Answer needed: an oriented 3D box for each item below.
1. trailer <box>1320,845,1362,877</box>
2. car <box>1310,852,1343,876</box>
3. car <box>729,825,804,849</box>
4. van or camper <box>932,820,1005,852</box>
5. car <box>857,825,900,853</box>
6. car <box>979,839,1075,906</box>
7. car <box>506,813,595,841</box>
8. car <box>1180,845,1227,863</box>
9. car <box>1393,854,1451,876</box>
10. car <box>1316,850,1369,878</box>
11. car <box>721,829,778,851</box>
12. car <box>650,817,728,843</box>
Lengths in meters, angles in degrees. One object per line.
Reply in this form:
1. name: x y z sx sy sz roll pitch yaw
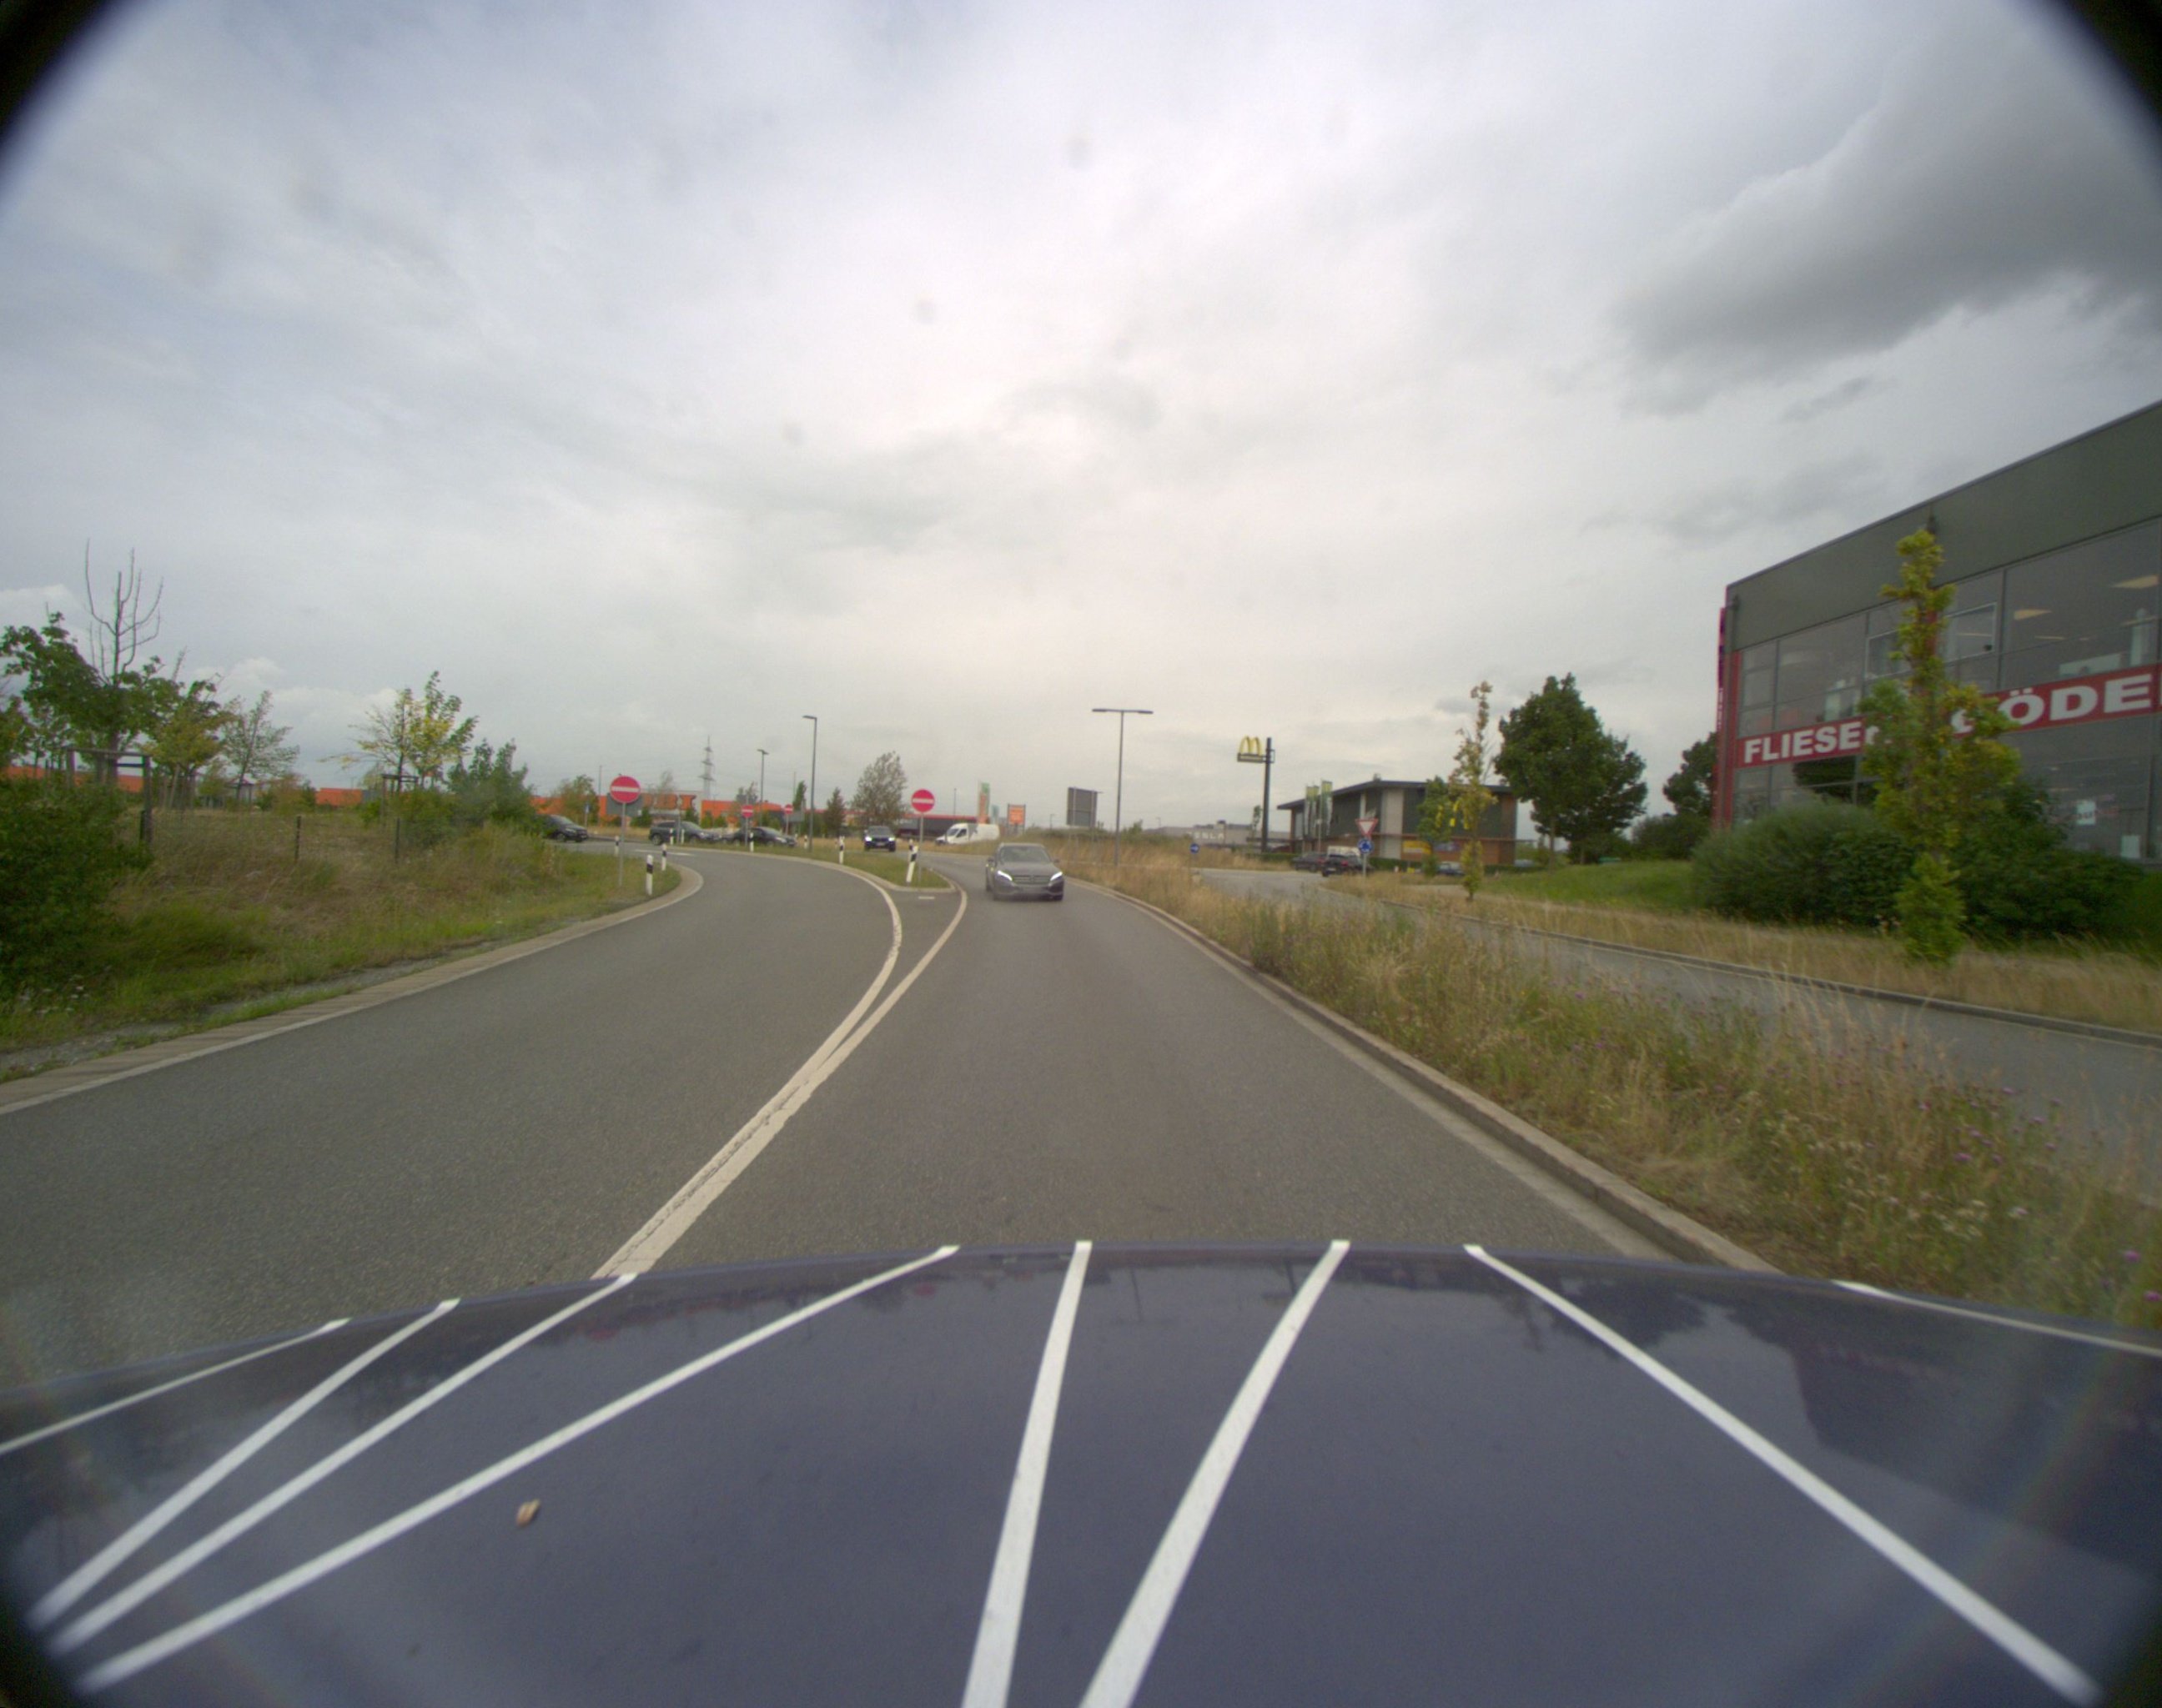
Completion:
1. trailer: 18.587 0.446 54.519 1.810 2.079 4.147 3 1 5
2. car: 18.875 0.761 58.522 1.814 1.660 4.620 3 0 11
3. car: -19.679 -1.069 47.626 4.135 1.362 1.846 2 2 19
4. van or camper: -9.683 -1.546 65.911 6.058 2.635 2.327 0 1 -44
5. car: -13.195 -0.956 49.408 1.846 1.709 3.991 -1 0 -28
6. car: -1.614 0.434 20.998 1.908 1.489 4.331 1 3 -14
7. car: -35.467 -1.807 50.896 4.742 1.712 1.722 2 2 0
8. car: 11.143 0.004 69.325 3.803 1.541 1.766 2 1 32
9. car: 27.456 0.866 61.209 4.023 1.649 1.892 1 2 -22
10. car: 15.714 0.615 45.597 1.639 1.451 3.776 9 4 39
11. car: -27.042 -1.147 62.093 4.002 1.648 1.997 1 1 -13
12. car: -26.152 -1.614 50.787 4.271 1.574 1.884 2 2 6
